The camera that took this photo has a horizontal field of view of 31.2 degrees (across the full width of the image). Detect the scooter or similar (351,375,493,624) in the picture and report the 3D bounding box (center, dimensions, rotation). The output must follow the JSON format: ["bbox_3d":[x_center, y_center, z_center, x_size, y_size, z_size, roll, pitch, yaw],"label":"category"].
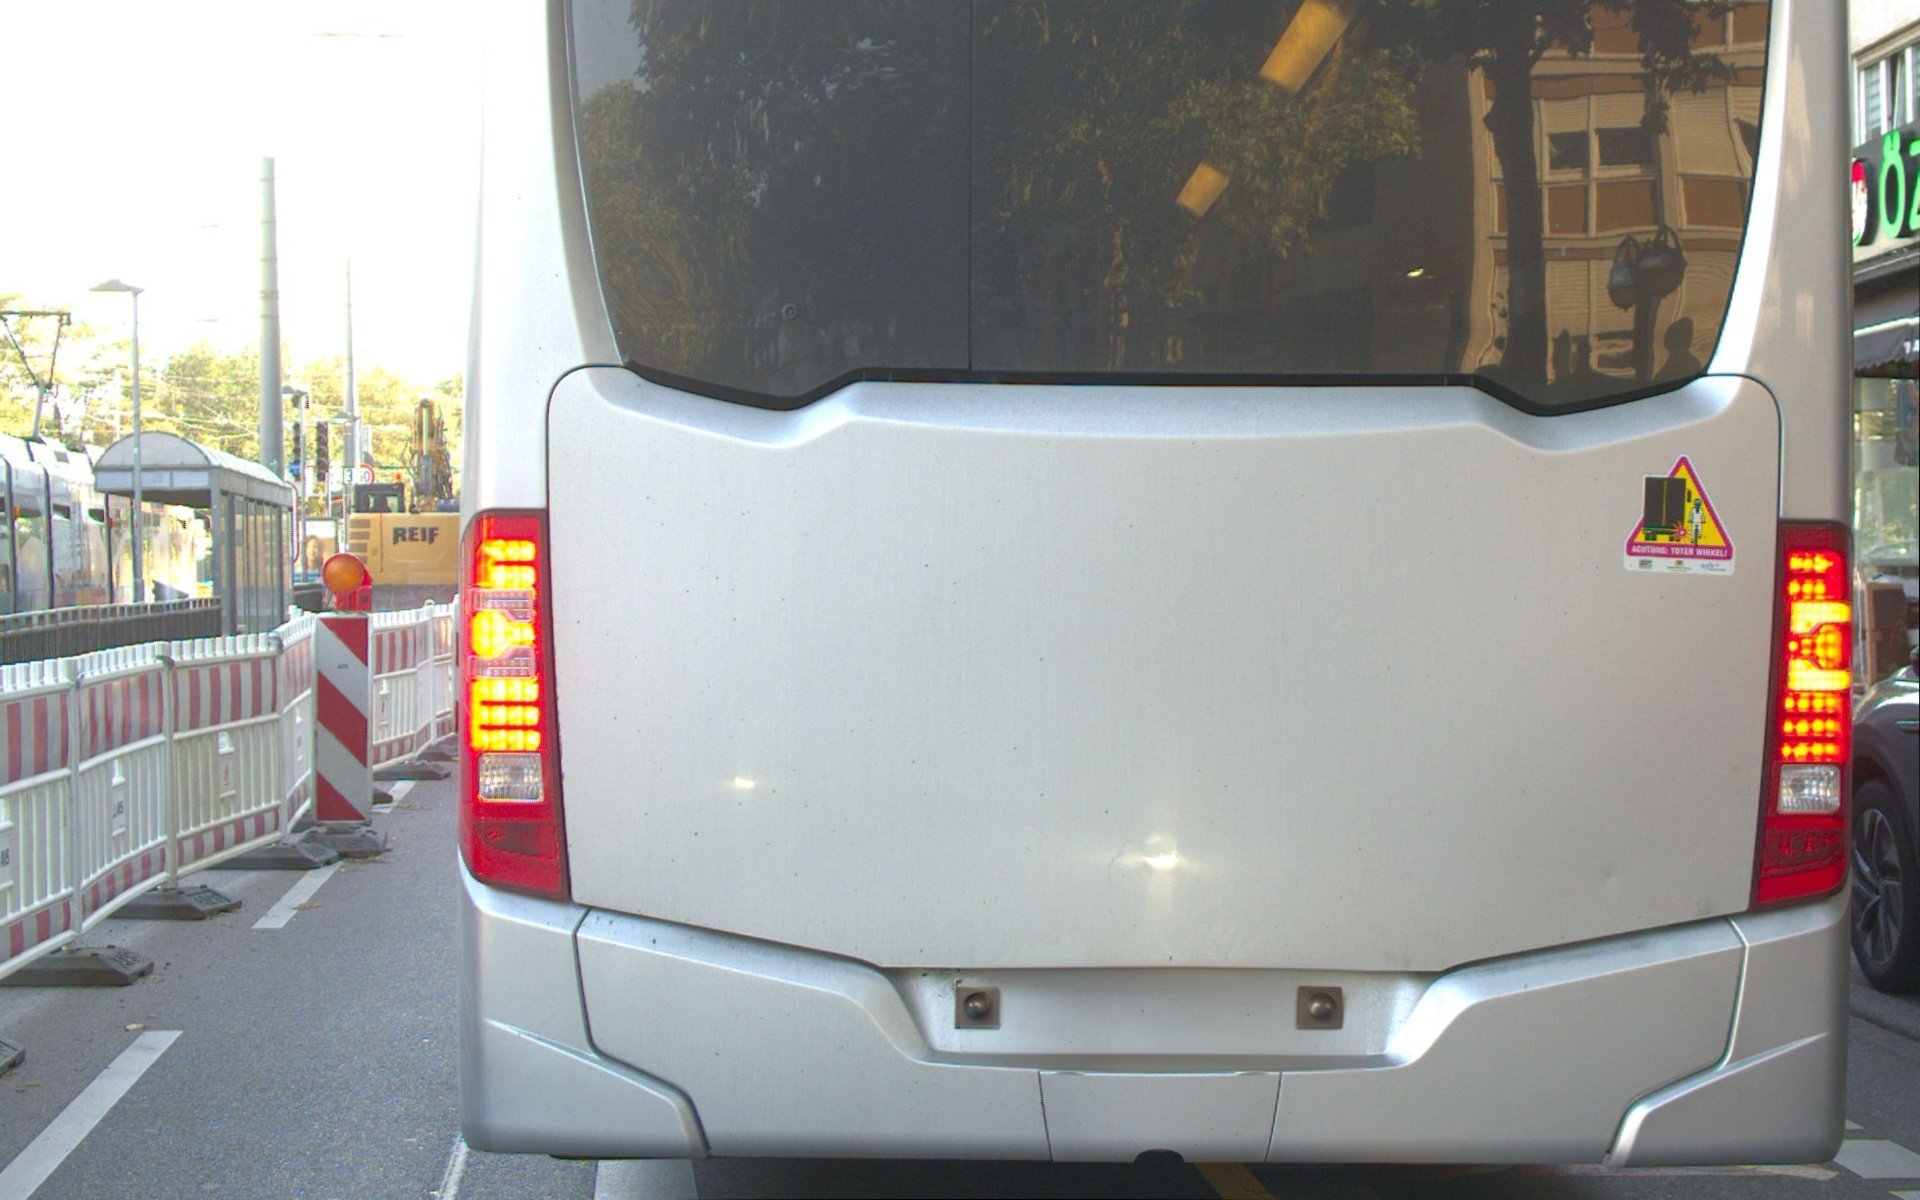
[{"bbox_3d":[-10.067,-1.847,64.703,2.468,4.455,5.974,-1,1,-8],"label":"scooter or similar"}]

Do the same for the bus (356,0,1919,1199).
[{"bbox_3d":[0.273,-0.191,9.742,2.611,3.115,7.993,1,1,-1],"label":"bus"}]

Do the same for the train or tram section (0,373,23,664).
[{"bbox_3d":[-12.484,-0.948,37.064,2.686,3.521,11.774,1,1,-6],"label":"train or tram section"}]

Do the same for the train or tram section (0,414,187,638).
[{"bbox_3d":[-15.393,-1.237,60.186,2.686,3.521,11.585,1,1,-8],"label":"train or tram section"}]

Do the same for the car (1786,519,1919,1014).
[{"bbox_3d":[4.139,0.517,10.058,1.993,1.576,4.369,-3,1,-5],"label":"car"}]

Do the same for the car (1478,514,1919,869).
[{"bbox_3d":[4.294,0.376,18.298,1.993,1.576,4.369,-3,1,-5],"label":"car"}]

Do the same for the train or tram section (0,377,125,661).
[{"bbox_3d":[-13.827,-1.095,48.721,2.686,3.546,11.585,1,1,-8],"label":"train or tram section"}]
